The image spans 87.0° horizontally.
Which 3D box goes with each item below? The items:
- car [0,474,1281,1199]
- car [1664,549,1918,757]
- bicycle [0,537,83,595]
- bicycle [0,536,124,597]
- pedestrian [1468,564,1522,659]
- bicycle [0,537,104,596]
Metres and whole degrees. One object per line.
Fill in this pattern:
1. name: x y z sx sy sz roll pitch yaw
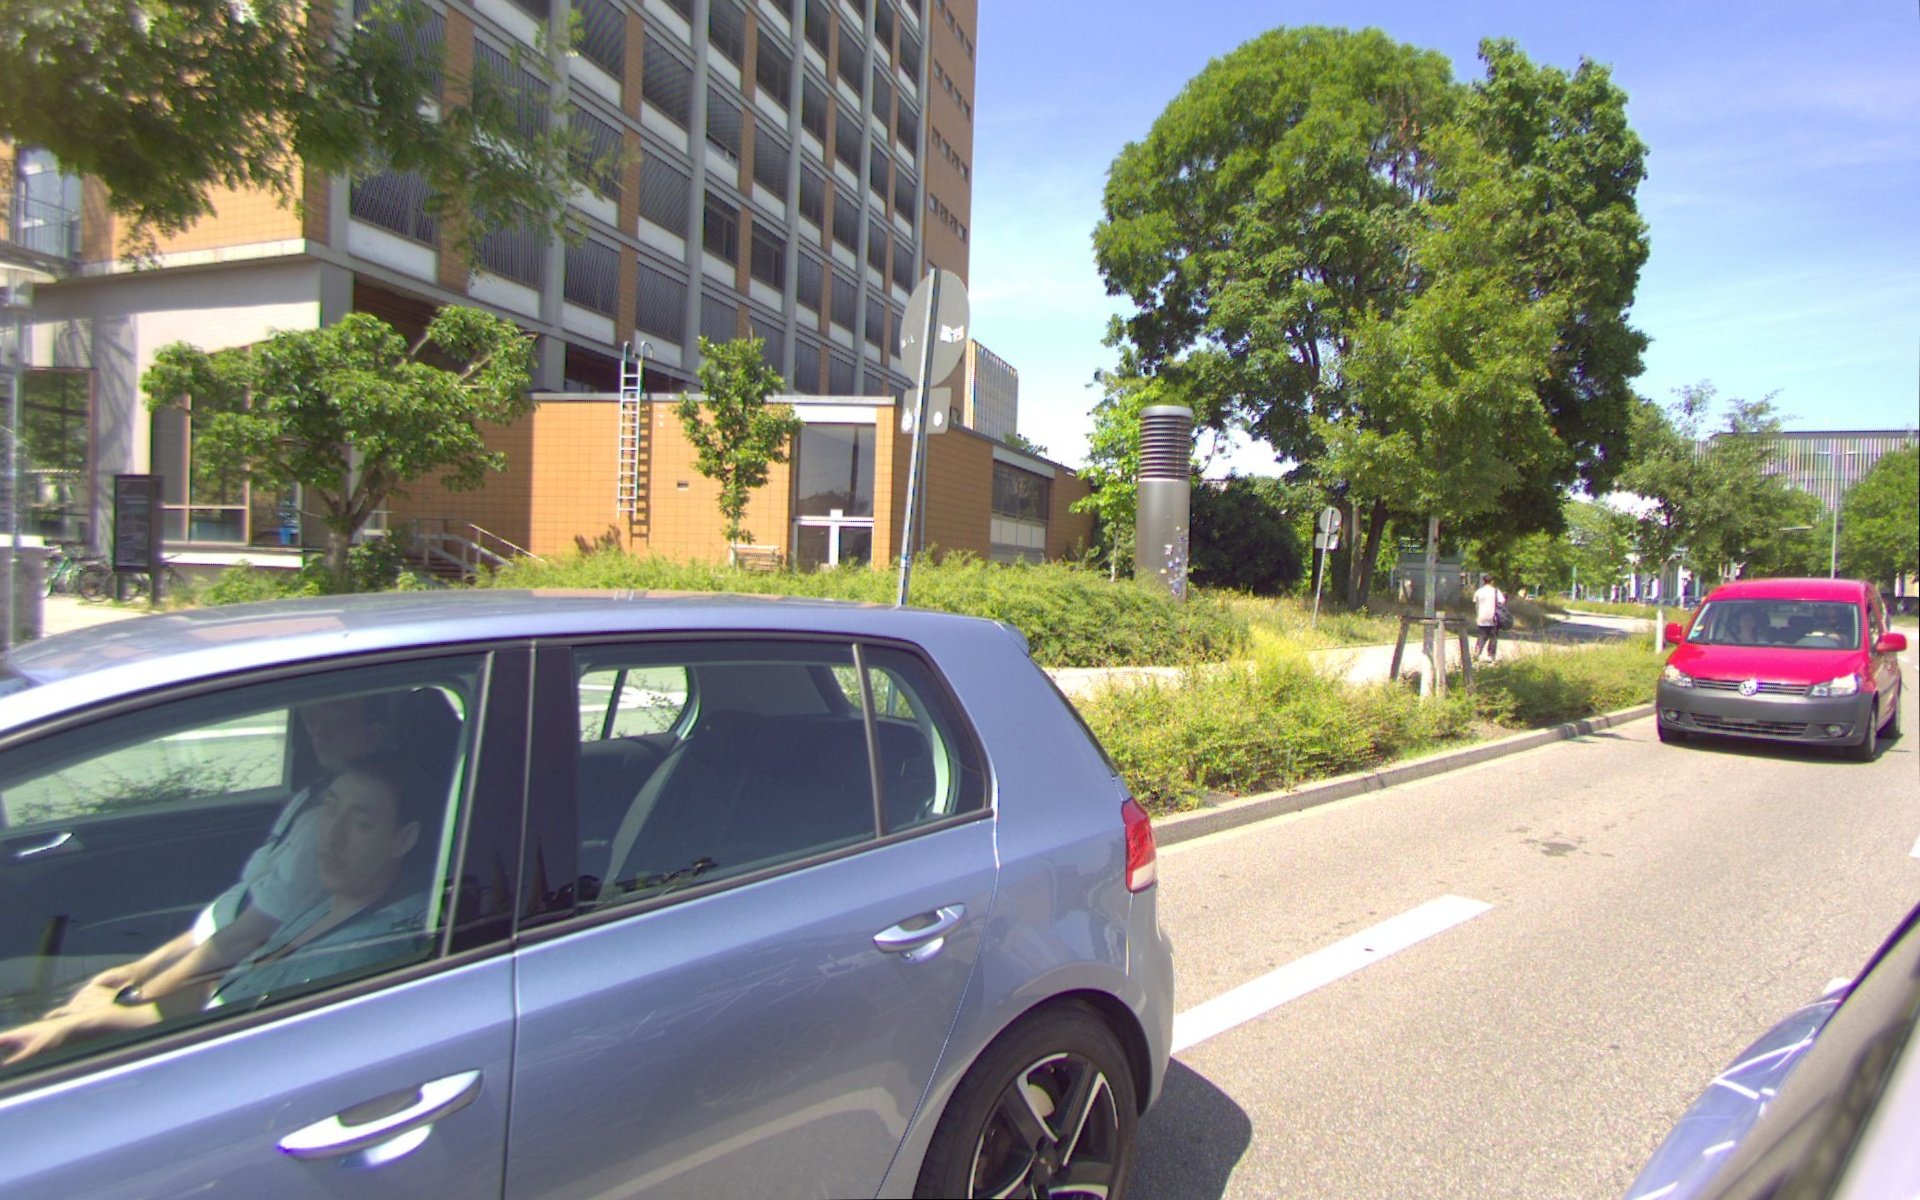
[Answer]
1. car: -1.260 0.603 1.878 3.931 1.477 1.655 0 0 -39
2. car: 9.381 0.467 11.279 4.470 1.882 1.653 0 1 -44
3. bicycle: -20.770 -0.738 22.251 0.630 1.233 2.201 0 0 22
4. bicycle: -19.341 -0.693 21.662 0.629 1.233 2.201 0 0 22
5. pedestrian: 10.467 0.213 19.802 0.603 1.820 0.728 1 1 -40
6. bicycle: -20.024 -0.709 21.958 0.629 1.233 2.201 0 0 22
